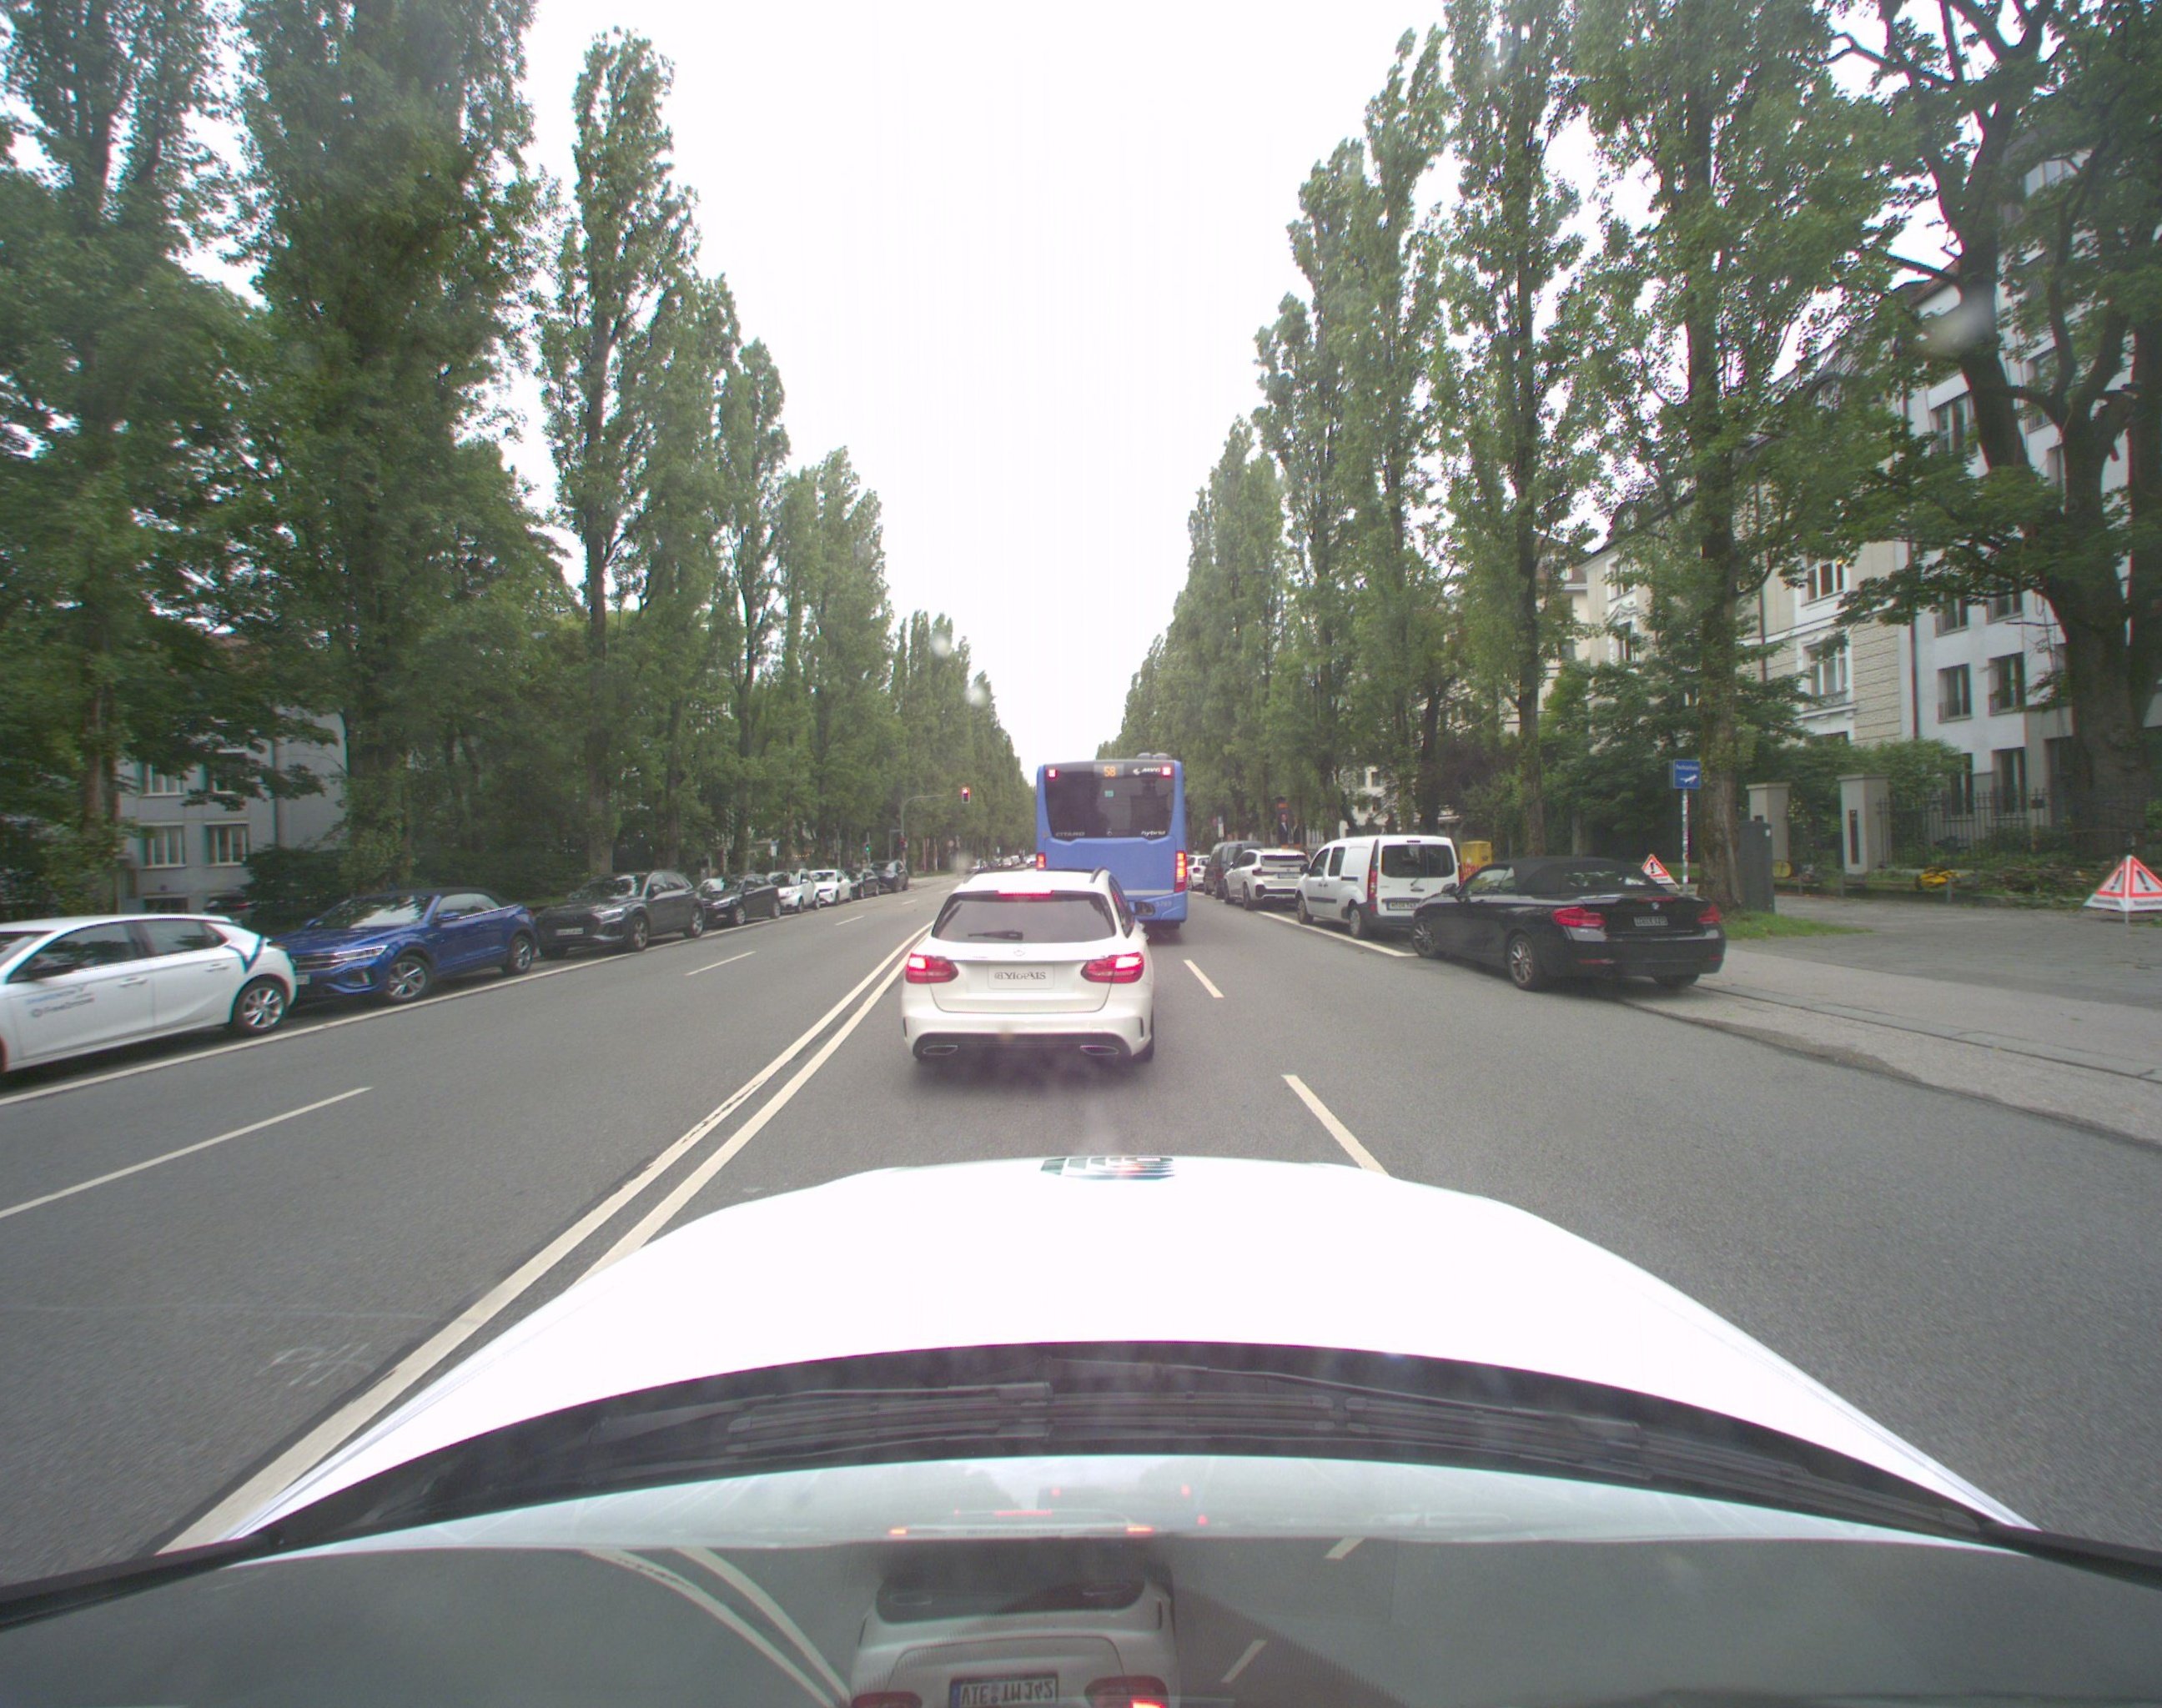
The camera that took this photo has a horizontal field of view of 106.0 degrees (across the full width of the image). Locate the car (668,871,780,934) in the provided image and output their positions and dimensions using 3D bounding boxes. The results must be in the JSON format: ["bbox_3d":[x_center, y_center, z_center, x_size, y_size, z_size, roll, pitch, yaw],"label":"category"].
[{"bbox_3d":[-10.152,1.327,23.468,1.535,1.433,3.866,-5,0,-2],"label":"car"}]

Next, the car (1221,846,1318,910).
[{"bbox_3d":[5.085,0.599,22.488,1.672,1.596,4.085,-1,0,-1],"label":"car"}]

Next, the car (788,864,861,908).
[{"bbox_3d":[-10.179,1.225,32.634,1.704,1.548,3.997,-3,0,-2],"label":"car"}]

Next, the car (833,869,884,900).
[{"bbox_3d":[-10.409,1.399,38.299,1.285,1.273,3.848,-2,0,0],"label":"car"}]

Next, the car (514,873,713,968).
[{"bbox_3d":[-9.851,1.303,17.623,1.786,1.548,4.335,-5,0,-2],"label":"car"}]

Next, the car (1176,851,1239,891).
[{"bbox_3d":[5.211,0.662,34.023,1.794,1.475,3.997,-2,0,-2],"label":"car"}]

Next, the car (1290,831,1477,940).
[{"bbox_3d":[5.458,0.506,15.341,1.828,1.773,4.227,0,0,-2],"label":"car"}]

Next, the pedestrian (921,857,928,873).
[{"bbox_3d":[-20.087,1.429,104.541,0.829,2.013,0.776,-2,0,-5],"label":"pedestrian"}]

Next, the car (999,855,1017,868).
[{"bbox_3d":[-8.548,0.874,95.818,1.816,1.486,3.997,-2,0,-2],"label":"car"}]

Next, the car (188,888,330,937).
[{"bbox_3d":[-34.392,2.399,34.287,1.993,1.684,4.253,-3,0,-9],"label":"car"}]

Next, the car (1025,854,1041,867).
[{"bbox_3d":[-6.318,0.823,107.214,1.988,1.619,3.997,-2,0,-2],"label":"car"}]

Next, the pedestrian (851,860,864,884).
[{"bbox_3d":[-19.181,1.573,69.836,0.828,2.013,0.777,-2,0,-4],"label":"pedestrian"}]

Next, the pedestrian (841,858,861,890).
[{"bbox_3d":[-13.005,1.124,46.056,0.820,1.764,1.079,-2,0,-4],"label":"pedestrian"}]

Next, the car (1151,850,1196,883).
[{"bbox_3d":[4.972,0.640,44.320,1.804,1.618,3.996,-2,0,-2],"label":"car"}]

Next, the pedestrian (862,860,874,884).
[{"bbox_3d":[-18.294,1.546,69.971,0.828,2.013,0.777,-2,0,-4],"label":"pedestrian"}]

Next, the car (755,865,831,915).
[{"bbox_3d":[-10.105,1.214,28.770,1.405,1.552,3.443,-2,0,0],"label":"car"}]

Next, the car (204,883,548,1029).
[{"bbox_3d":[-9.984,1.316,12.057,1.741,1.518,4.108,-4,0,-7],"label":"car"}]

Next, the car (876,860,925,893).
[{"bbox_3d":[-9.683,1.180,43.849,1.702,1.552,3.999,-2,0,0],"label":"car"}]

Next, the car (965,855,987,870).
[{"bbox_3d":[-10.936,0.883,84.911,1.816,1.486,3.997,-2,0,-2],"label":"car"}]

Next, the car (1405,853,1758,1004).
[{"bbox_3d":[5.528,0.701,9.696,1.741,1.354,4.000,-2,0,0],"label":"car"}]

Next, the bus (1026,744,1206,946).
[{"bbox_3d":[0.995,-0.163,17.784,2.842,3.213,9.073,-2,0,5],"label":"bus"}]

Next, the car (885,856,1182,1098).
[{"bbox_3d":[-0.246,0.773,7.360,1.819,1.454,4.583,-1,0,1],"label":"car"}]

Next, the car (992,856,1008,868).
[{"bbox_3d":[-11.315,1.136,113.677,1.816,1.486,3.997,-2,0,-2],"label":"car"}]

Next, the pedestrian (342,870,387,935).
[{"bbox_3d":[-19.763,1.325,22.484,0.598,1.739,0.640,-2,0,-1],"label":"pedestrian"}]

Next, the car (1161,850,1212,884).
[{"bbox_3d":[5.020,0.588,39.159,1.781,1.491,3.997,-2,0,-2],"label":"car"}]

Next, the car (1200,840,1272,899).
[{"bbox_3d":[5.208,0.477,27.775,1.697,1.836,4.000,-1,0,0],"label":"car"}]

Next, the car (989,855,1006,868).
[{"bbox_3d":[-10.713,0.969,104.125,1.816,1.486,3.997,-2,0,-2],"label":"car"}]

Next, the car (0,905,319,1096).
[{"bbox_3d":[-9.892,1.368,7.656,1.681,1.413,4.001,-4,0,-2],"label":"car"}]
